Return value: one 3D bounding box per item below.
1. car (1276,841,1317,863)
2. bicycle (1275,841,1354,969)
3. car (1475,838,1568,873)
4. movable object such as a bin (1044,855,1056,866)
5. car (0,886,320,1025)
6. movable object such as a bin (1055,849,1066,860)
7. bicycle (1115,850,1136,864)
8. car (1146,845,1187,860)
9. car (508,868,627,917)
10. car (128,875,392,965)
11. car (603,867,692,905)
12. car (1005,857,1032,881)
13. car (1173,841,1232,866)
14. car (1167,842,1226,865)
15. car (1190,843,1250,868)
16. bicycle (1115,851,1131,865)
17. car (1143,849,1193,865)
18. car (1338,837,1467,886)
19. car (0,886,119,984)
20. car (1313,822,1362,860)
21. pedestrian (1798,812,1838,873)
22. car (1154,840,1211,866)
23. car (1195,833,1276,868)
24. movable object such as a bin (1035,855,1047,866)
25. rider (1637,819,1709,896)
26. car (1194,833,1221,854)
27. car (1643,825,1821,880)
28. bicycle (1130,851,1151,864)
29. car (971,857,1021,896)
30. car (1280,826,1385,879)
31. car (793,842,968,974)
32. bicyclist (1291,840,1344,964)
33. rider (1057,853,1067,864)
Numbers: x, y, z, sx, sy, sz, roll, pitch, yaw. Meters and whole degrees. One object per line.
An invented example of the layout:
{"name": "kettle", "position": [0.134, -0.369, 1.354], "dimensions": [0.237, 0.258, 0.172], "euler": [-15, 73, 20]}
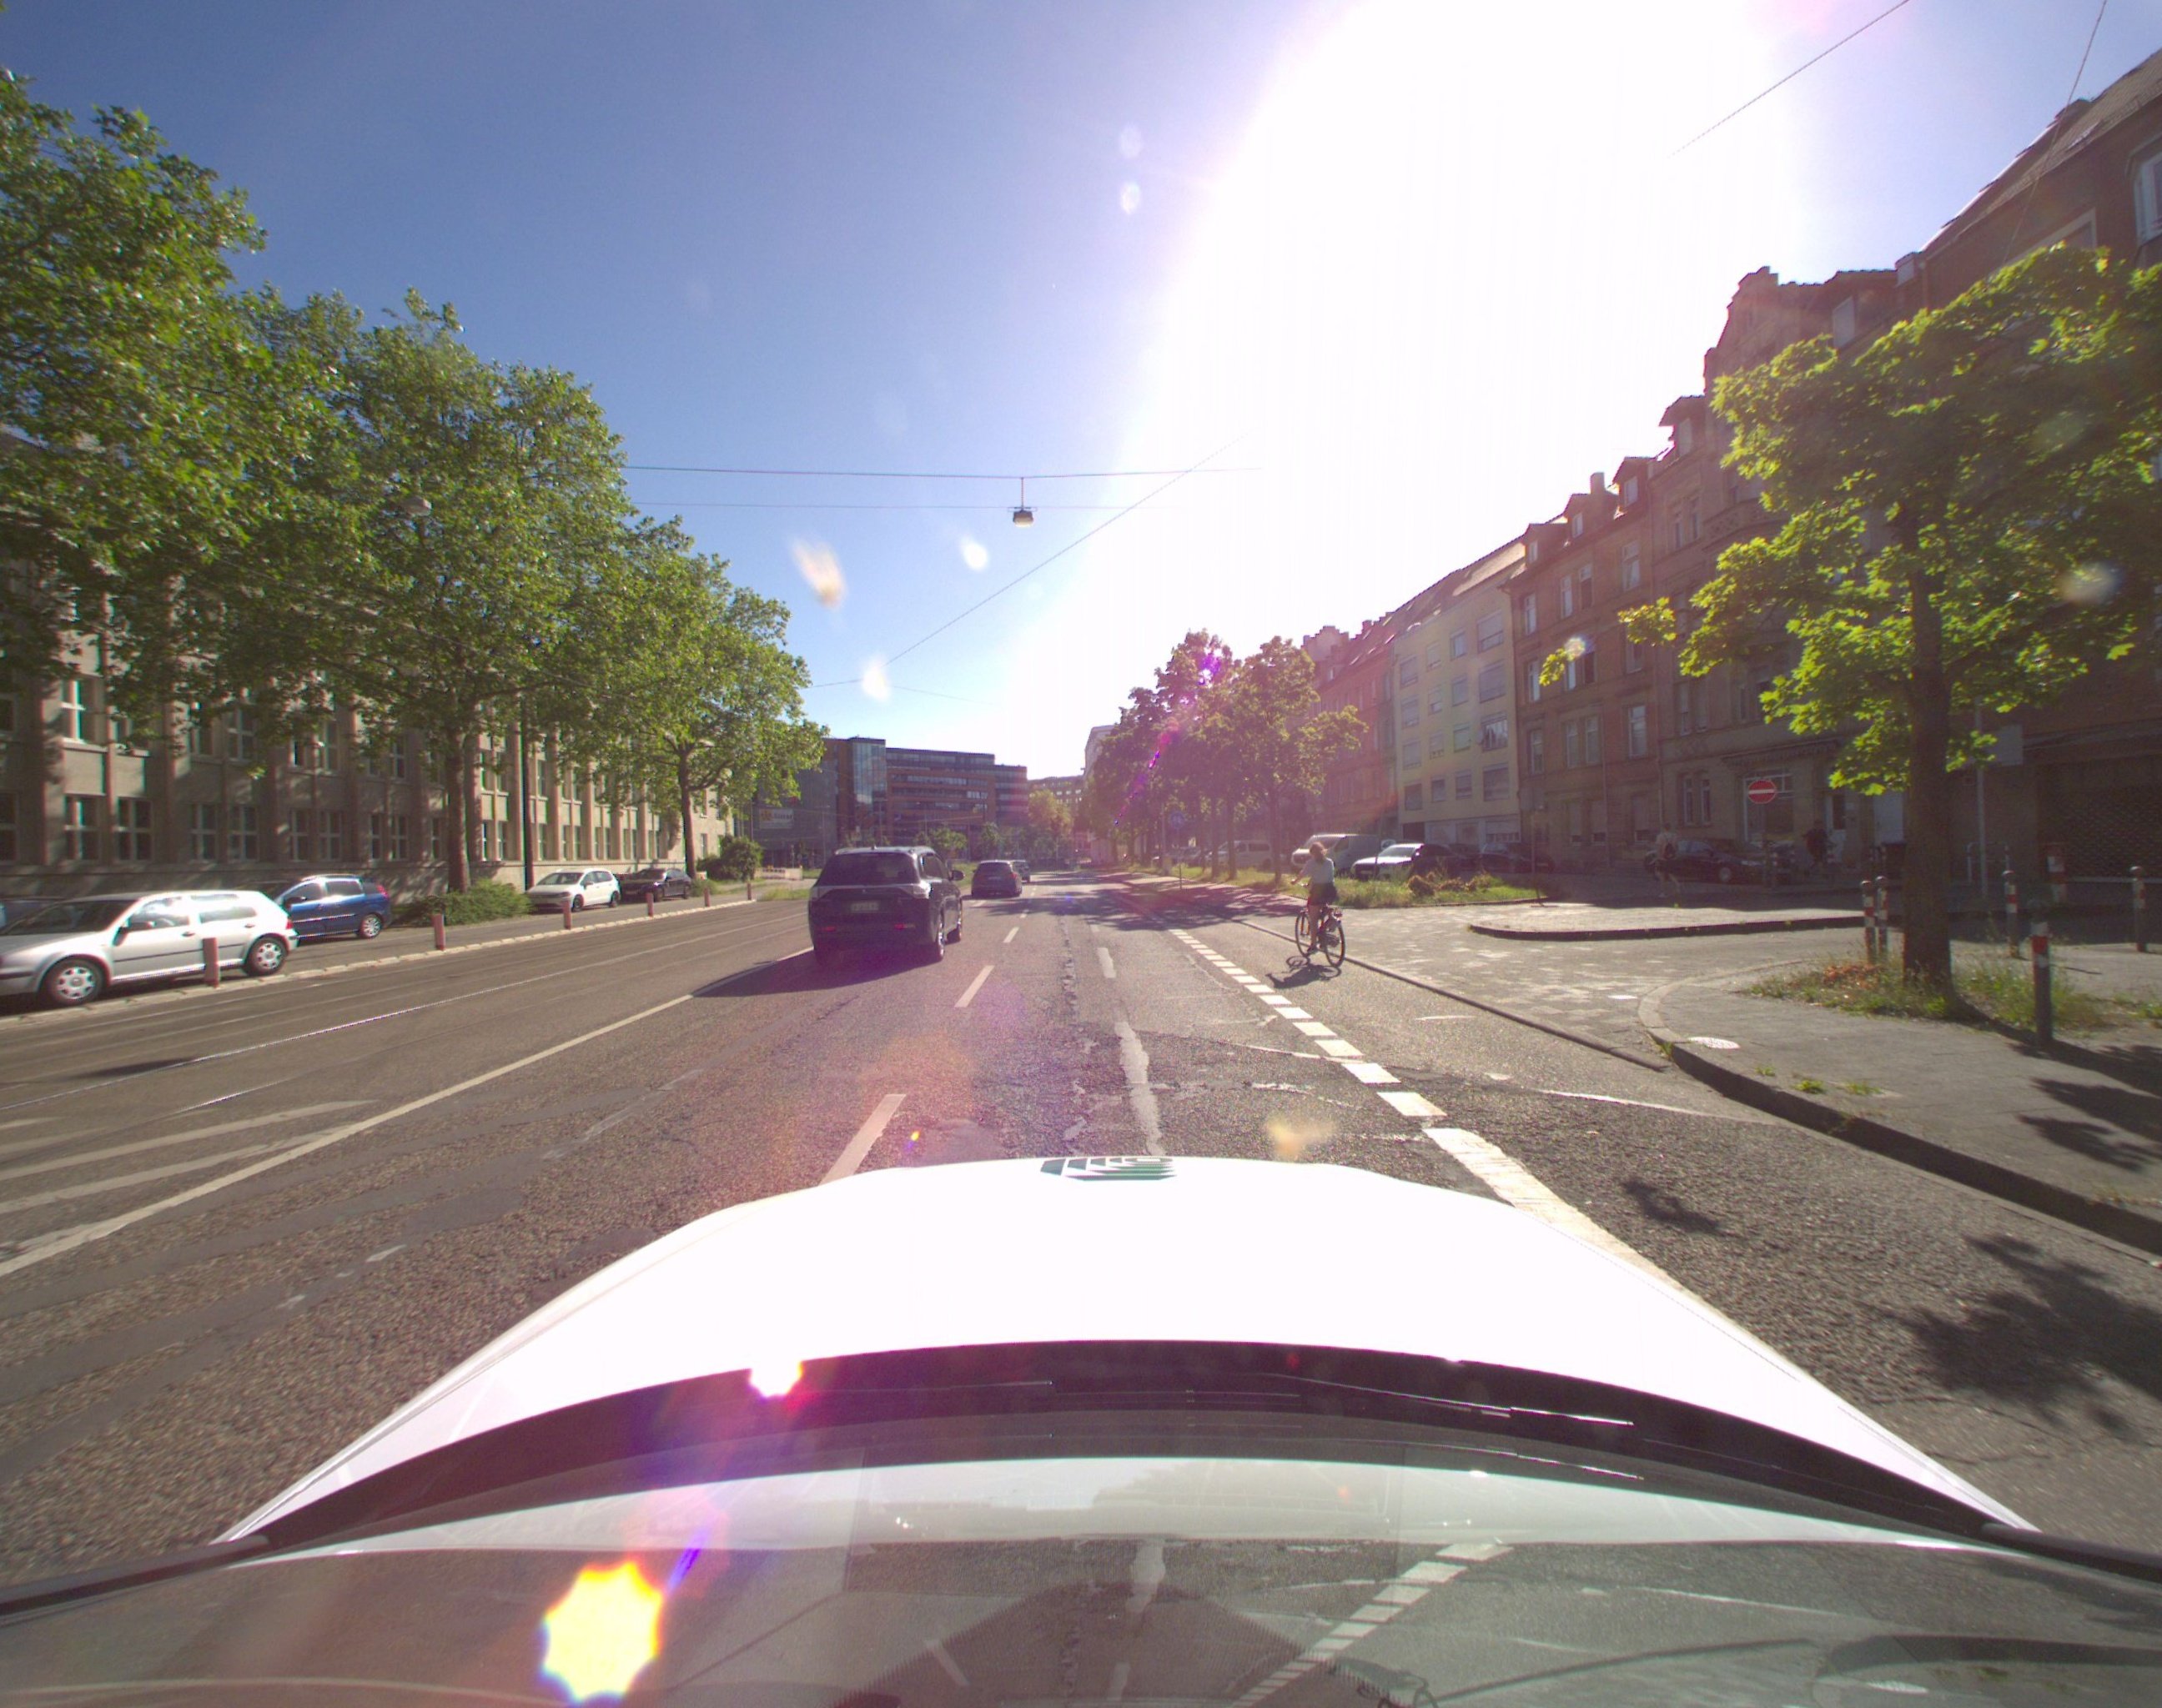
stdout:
{"name": "car", "position": [17.707, -0.169, 67.077], "dimensions": [1.988, 1.691, 4.509], "euler": [-2, 0, -2]}
{"name": "bicycle", "position": [3.252, 0.658, 11.494], "dimensions": [0.436, 1.639, 1.937], "euler": [-2, 0, -2]}
{"name": "car", "position": [20.062, 0.032, 37.317], "dimensions": [1.724, 1.420, 4.289], "euler": [-3, 1, -3]}
{"name": "movable object such as a bin", "position": [-4.099, 0.868, 107.765], "dimensions": [1.098, 1.398, 1.327], "euler": [-2, 0, 17]}
{"name": "car", "position": [-13.593, 1.313, 11.481], "dimensions": [1.825, 1.453, 4.167], "euler": [-3, 0, -2]}
{"name": "movable object such as a bin", "position": [-2.716, 0.013, 107.710], "dimensions": [1.020, 1.398, 1.095], "euler": [-2, 0, 17]}
{"name": "bicycle", "position": [4.637, 0.314, 84.639], "dimensions": [2.092, 1.365, 0.785], "euler": [-2, -1, -9]}
{"name": "car", "position": [9.756, -0.176, 92.876], "dimensions": [4.489, 1.565, 1.917], "euler": [-2, 0, -35]}
{"name": "car", "position": [-19.249, 1.388, 30.784], "dimensions": [1.826, 1.587, 4.390], "euler": [-3, 0, -4]}
{"name": "car", "position": [-18.643, 1.407, 18.860], "dimensions": [1.827, 1.639, 4.388], "euler": [-2, 0, -5]}
{"name": "car", "position": [-19.616, 1.408, 37.062], "dimensions": [1.825, 1.492, 4.179], "euler": [-2, 0, -2]}
{"name": "car", "position": [-3.890, 0.932, 50.352], "dimensions": [1.630, 1.423, 3.774], "euler": [0, -2, -6]}
{"name": "car", "position": [10.017, -0.085, 67.017], "dimensions": [4.530, 1.727, 1.979], "euler": [-4, 0, -33]}
{"name": "car", "position": [10.061, -0.047, 70.826], "dimensions": [4.899, 1.648, 2.079], "euler": [-4, 0, -33]}
{"name": "car", "position": [9.852, 0.099, 57.723], "dimensions": [4.049, 1.478, 1.793], "euler": [-4, 0, -37]}
{"name": "bicycle", "position": [4.231, 0.421, 82.454], "dimensions": [0.760, 1.290, 1.608], "euler": [-3, 0, 37]}
{"name": "car", "position": [8.496, 0.248, 79.199], "dimensions": [4.774, 1.380, 2.023], "euler": [-2, 0, -37]}
{"name": "car", "position": [11.709, 0.248, 29.544], "dimensions": [4.903, 1.435, 1.998], "euler": [-4, 1, -36]}
{"name": "car", "position": [-18.664, 1.407, 13.041], "dimensions": [1.669, 1.547, 4.182], "euler": [-2, 0, -5]}
{"name": "car", "position": [18.914, -0.987, 60.320], "dimensions": [1.988, 2.585, 4.510], "euler": [-4, 1, -1]}
{"name": "pedestrian", "position": [21.886, -0.346, 24.206], "dimensions": [0.568, 1.758, 0.615], "euler": [-2, 0, 0]}
{"name": "car", "position": [9.121, -0.128, 73.179], "dimensions": [4.904, 2.013, 2.077], "euler": [-4, 0, -37]}
{"name": "car", "position": [10.436, -0.259, 54.838], "dimensions": [5.207, 2.013, 2.079], "euler": [-4, 0, -33]}
{"name": "movable object such as a bin", "position": [-5.273, 0.918, 107.718], "dimensions": [1.060, 1.398, 1.310], "euler": [-2, 0, 17]}
{"name": "rider", "position": [14.519, 0.081, 19.984], "dimensions": [0.964, 1.820, 1.032], "euler": [-2, 0, -25]}
{"name": "car", "position": [15.994, -1.317, 103.296], "dimensions": [2.343, 2.357, 5.183], "euler": [-4, 1, -2]}
{"name": "car", "position": [20.198, -0.046, 25.577], "dimensions": [1.987, 1.474, 4.489], "euler": [-2, 0, 0]}
{"name": "bicycle", "position": [6.045, 0.360, 83.104], "dimensions": [1.953, 1.192, 0.840], "euler": [-4, 0, -4]}
{"name": "car", "position": [-3.245, 0.888, 31.794], "dimensions": [1.730, 1.423, 4.461], "euler": [0, -2, -4]}
{"name": "car", "position": [11.479, -0.080, 37.039], "dimensions": [4.904, 2.075, 1.998], "euler": [-4, 1, -38]}
{"name": "car", "position": [-2.935, 0.721, 12.975], "dimensions": [1.832, 1.682, 4.637], "euler": [-1, -1, -3]}
{"name": "bicyclist", "position": [3.256, 0.633, 11.257], "dimensions": [0.436, 1.639, 0.778], "euler": [-2, 0, -2]}
{"name": "rider", "position": [-2.063, 0.473, 88.514], "dimensions": [0.498, 1.176, 1.683], "euler": [-2, 1, 14]}
